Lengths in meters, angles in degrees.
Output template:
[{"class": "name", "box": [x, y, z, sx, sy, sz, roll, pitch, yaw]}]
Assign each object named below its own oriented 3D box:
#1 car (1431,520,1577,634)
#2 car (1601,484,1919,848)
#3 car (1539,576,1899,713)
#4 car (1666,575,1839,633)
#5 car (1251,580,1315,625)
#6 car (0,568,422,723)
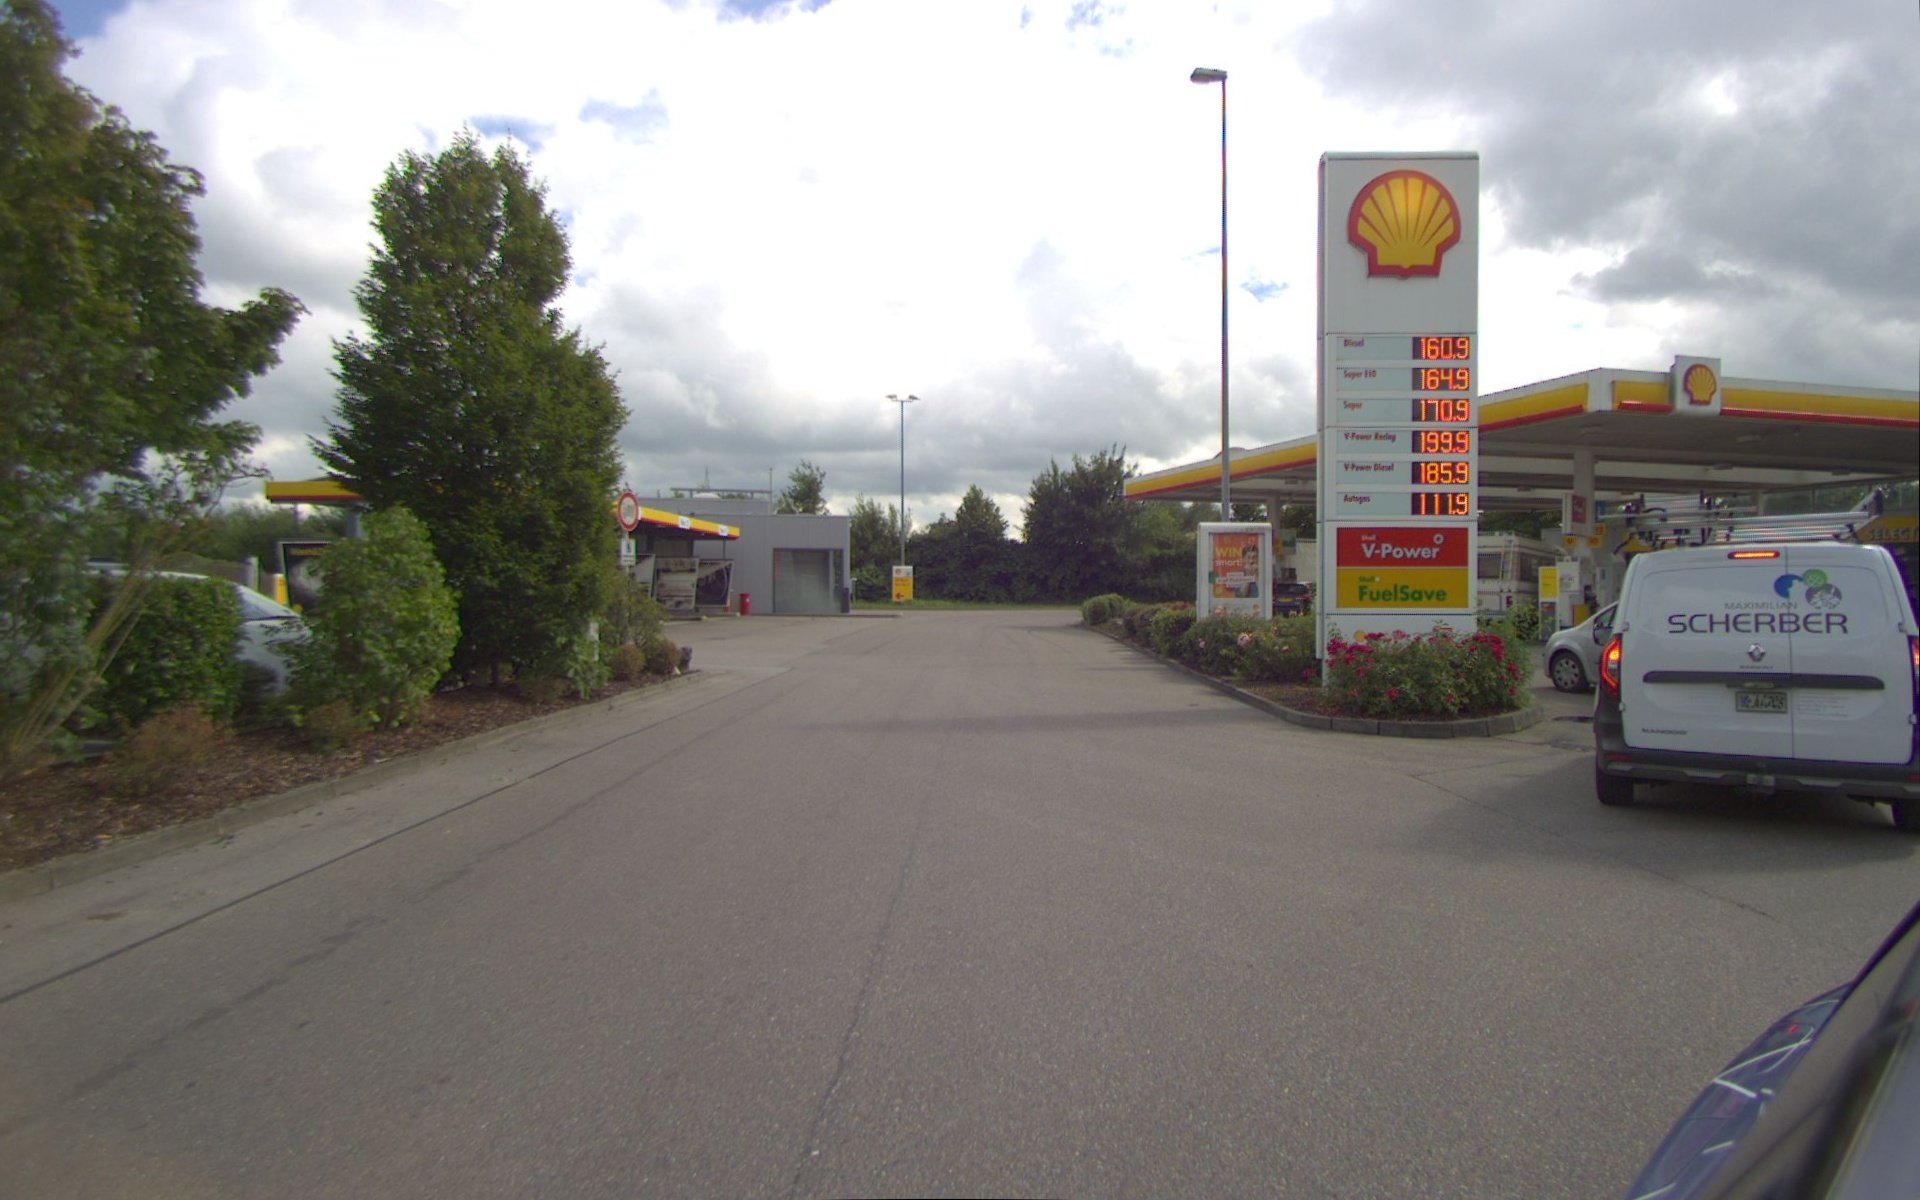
[{"class": "car", "box": [15.095, -0.598, 27.886, 2.216, 2.822, 5.719, 0, 1, 43]}, {"class": "car", "box": [6.044, 0.357, 7.584, 1.786, 2.038, 3.829, 0, 0, 37]}, {"class": "car", "box": [9.932, 0.489, 13.626, 1.546, 1.566, 3.729, 0, 1, -14]}, {"class": "car", "box": [23.767, 0.085, 30.505, 1.680, 1.621, 3.769, 0, 1, -21]}, {"class": "car", "box": [12.217, 0.053, 38.146, 1.832, 1.594, 3.966, 0, 1, 25]}, {"class": "car", "box": [-8.094, 0.418, 10.846, 3.815, 1.453, 1.723, 1, 1, 6]}]
